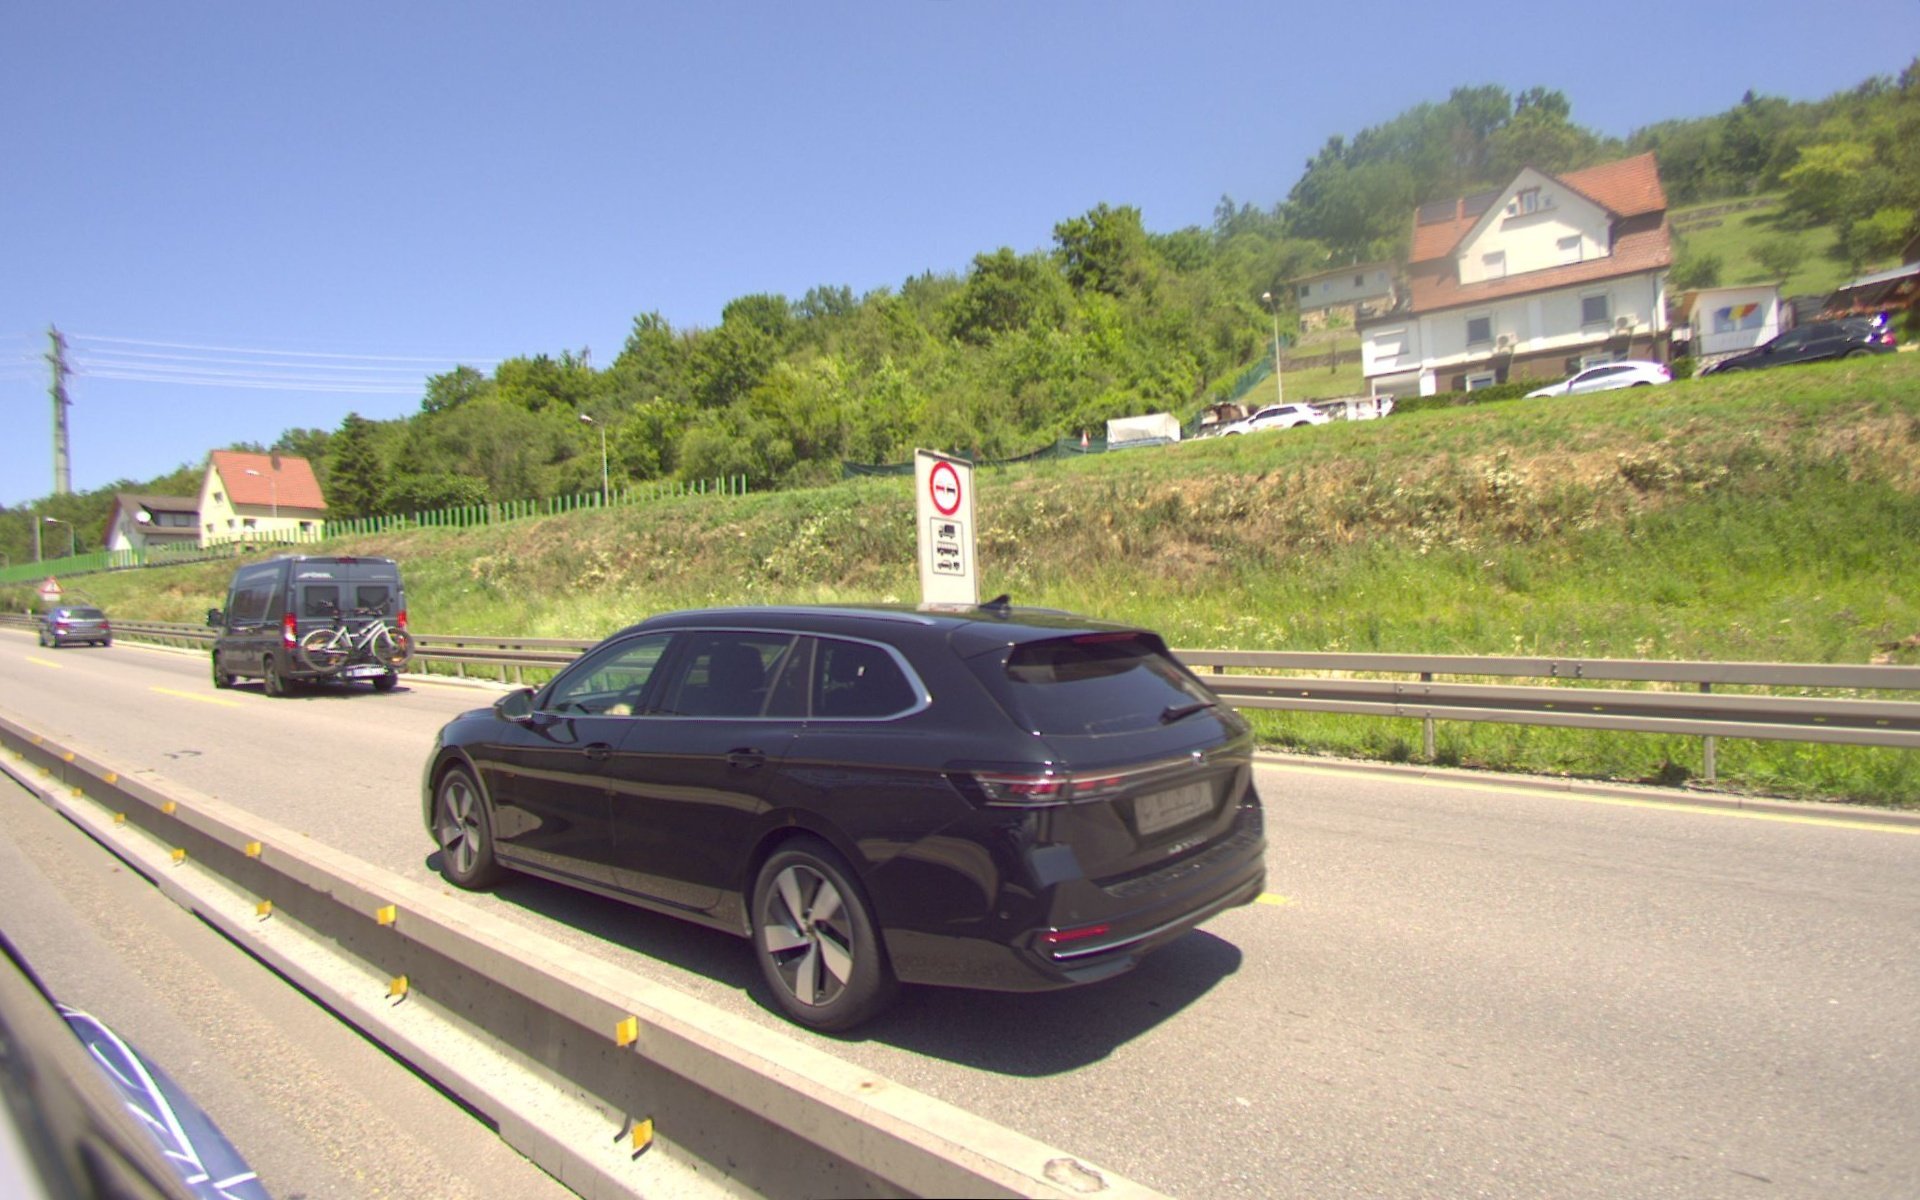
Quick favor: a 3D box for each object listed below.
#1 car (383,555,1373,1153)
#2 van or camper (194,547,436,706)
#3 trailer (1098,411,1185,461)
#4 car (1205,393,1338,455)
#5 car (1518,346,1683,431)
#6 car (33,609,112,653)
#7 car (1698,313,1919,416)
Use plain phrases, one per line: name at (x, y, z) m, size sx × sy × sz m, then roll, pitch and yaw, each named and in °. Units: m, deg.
car at (-0.821, 0.661, 4.802) m, size 4.831 × 1.486 × 1.824 m, roll -1°, pitch -1°, yaw 41°
van or camper at (-12.566, 0.462, 19.469) m, size 6.560 × 2.593 × 2.118 m, roll -1°, pitch 0°, yaw 41°
trailer at (7.410, -6.665, 41.312) m, size 3.025 × 1.527 × 1.889 m, roll 0°, pitch 0°, yaw 30°
car at (11.840, -6.643, 38.528) m, size 4.537 × 1.668 × 1.979 m, roll 0°, pitch 0°, yaw 31°
car at (20.739, -6.785, 32.879) m, size 4.421 × 1.886 × 1.976 m, roll 0°, pitch 0°, yaw 35°
car at (-35.058, 1.196, 39.944) m, size 4.283 × 1.594 × 1.755 m, roll -1°, pitch 0°, yaw 41°
car at (25.051, -6.893, 30.104) m, size 4.963 × 2.023 × 2.052 m, roll 0°, pitch 0°, yaw 36°
